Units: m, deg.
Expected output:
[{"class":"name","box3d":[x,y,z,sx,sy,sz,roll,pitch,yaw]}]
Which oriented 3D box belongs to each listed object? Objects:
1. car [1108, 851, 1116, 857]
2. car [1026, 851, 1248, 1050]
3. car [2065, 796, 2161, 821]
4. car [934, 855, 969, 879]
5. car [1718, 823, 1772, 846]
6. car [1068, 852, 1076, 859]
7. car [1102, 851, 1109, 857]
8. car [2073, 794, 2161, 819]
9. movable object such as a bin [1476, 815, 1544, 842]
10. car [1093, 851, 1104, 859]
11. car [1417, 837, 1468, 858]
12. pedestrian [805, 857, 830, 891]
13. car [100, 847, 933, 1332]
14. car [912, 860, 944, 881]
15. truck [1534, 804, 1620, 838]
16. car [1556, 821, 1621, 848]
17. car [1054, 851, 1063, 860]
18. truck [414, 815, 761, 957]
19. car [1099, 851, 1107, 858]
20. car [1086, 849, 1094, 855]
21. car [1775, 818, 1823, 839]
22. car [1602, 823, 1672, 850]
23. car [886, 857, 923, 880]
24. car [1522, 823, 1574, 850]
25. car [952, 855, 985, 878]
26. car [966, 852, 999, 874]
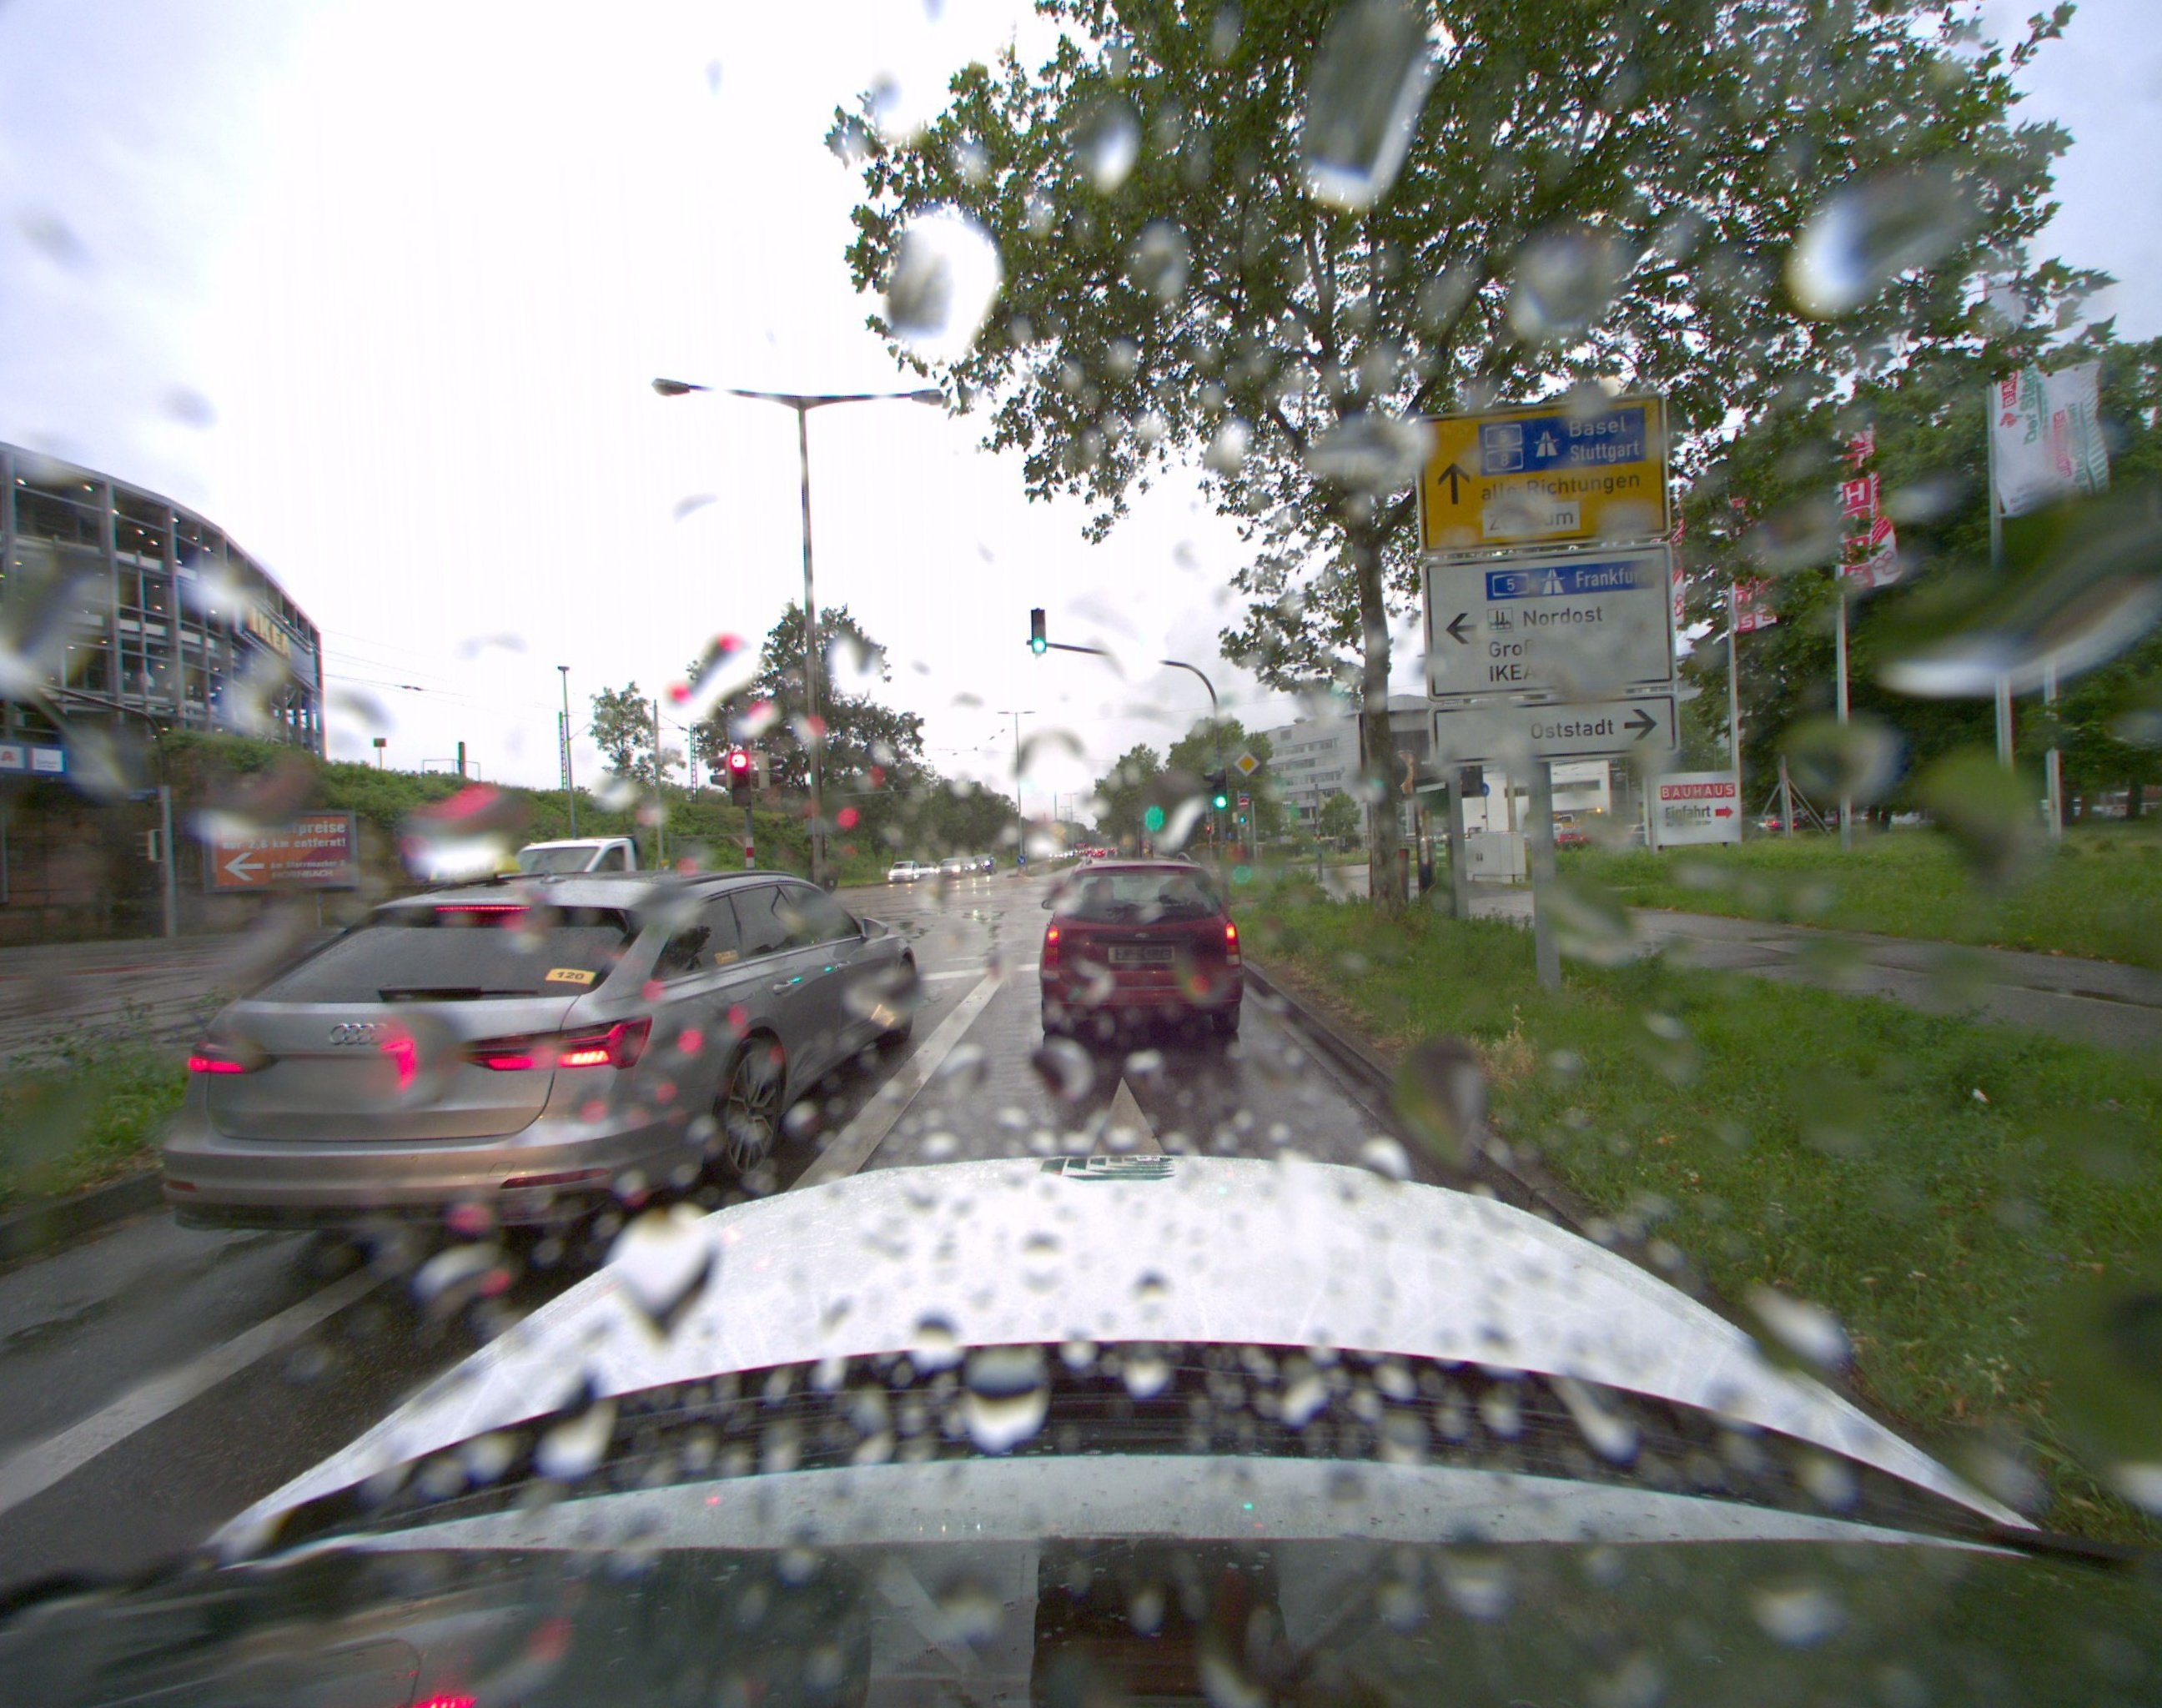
[{"class":"car","box3d":[7.604,0.029,199.860,1.664,1.528,3.849,-3,0,3]},{"class":"car","box3d":[0.448,0.711,7.926,1.636,1.465,3.733,0,0,1]},{"class":"car","box3d":[88.544,-3.895,69.314,2.286,1.731,5.899,-3,0,-33]},{"class":"car","box3d":[-8.943,0.867,56.539,1.632,1.473,3.966,-3,0,1]},{"class":"car","box3d":[51.683,-1.543,63.349,4.644,1.586,1.907,-3,0,-34]},{"class":"car","box3d":[-2.363,0.325,214.557,1.955,1.702,4.286,-3,0,2]},{"class":"car","box3d":[6.853,0.010,230.638,1.662,1.528,3.853,-3,0,6]},{"class":"car","box3d":[82.201,-3.736,64.419,1.938,1.586,4.568,-2,-1,-44]},{"class":"movable object such as a bin","box3d":[53.780,-3.173,102.172,3.342,2.995,6.650,-3,0,-34]},{"class":"car","box3d":[3.788,0.219,175.655,2.138,1.528,4.197,-3,0,4]},{"class":"car","box3d":[30.709,-0.548,69.193,4.255,1.726,1.725,-1,0,-29]},{"class":"pedestrian","box3d":[-14.948,1.100,46.218,1.102,1.847,1.126,-3,0,-10]},{"class":"car","box3d":[-2.287,0.759,5.079,1.763,1.574,4.822,0,0,1]},{"class":"car","box3d":[-11.570,1.216,61.886,1.585,1.404,3.823,-3,0,1]},{"class":"truck","box3d":[57.979,-3.823,95.389,3.342,3.507,7.806,-3,0,-33]},{"class":"car","box3d":[30.201,-1.151,48.442,3.828,1.491,1.662,-2,0,-30]},{"class":"car","box3d":[-4.813,0.292,172.301,1.739,1.702,4.281,-4,0,-2]},{"class":"truck","box3d":[-9.923,0.535,17.515,2.460,2.365,6.884,-3,0,8]},{"class":"car","box3d":[5.195,0.082,194.247,1.691,1.528,3.849,-3,0,3]},{"class":"car","box3d":[2.198,-0.486,202.694,1.691,1.528,3.849,-3,0,3]},{"class":"car","box3d":[60.652,-2.185,68.791,4.645,1.586,1.907,-2,-1,-34]},{"class":"car","box3d":[35.876,-1.140,52.488,4.847,1.491,1.908,-2,0,-32]},{"class":"car","box3d":[-11.978,0.965,55.506,1.633,1.452,3.786,-3,0,0]},{"class":"car","box3d":[39.665,-1.518,69.105,4.709,2.125,1.978,-2,-1,-36]},{"class":"car","box3d":[-8.742,0.953,63.555,1.756,1.586,4.813,-3,-1,0]},{"class":"car","box3d":[-8.642,0.756,71.741,2.058,1.819,5.542,-3,0,1]}]
